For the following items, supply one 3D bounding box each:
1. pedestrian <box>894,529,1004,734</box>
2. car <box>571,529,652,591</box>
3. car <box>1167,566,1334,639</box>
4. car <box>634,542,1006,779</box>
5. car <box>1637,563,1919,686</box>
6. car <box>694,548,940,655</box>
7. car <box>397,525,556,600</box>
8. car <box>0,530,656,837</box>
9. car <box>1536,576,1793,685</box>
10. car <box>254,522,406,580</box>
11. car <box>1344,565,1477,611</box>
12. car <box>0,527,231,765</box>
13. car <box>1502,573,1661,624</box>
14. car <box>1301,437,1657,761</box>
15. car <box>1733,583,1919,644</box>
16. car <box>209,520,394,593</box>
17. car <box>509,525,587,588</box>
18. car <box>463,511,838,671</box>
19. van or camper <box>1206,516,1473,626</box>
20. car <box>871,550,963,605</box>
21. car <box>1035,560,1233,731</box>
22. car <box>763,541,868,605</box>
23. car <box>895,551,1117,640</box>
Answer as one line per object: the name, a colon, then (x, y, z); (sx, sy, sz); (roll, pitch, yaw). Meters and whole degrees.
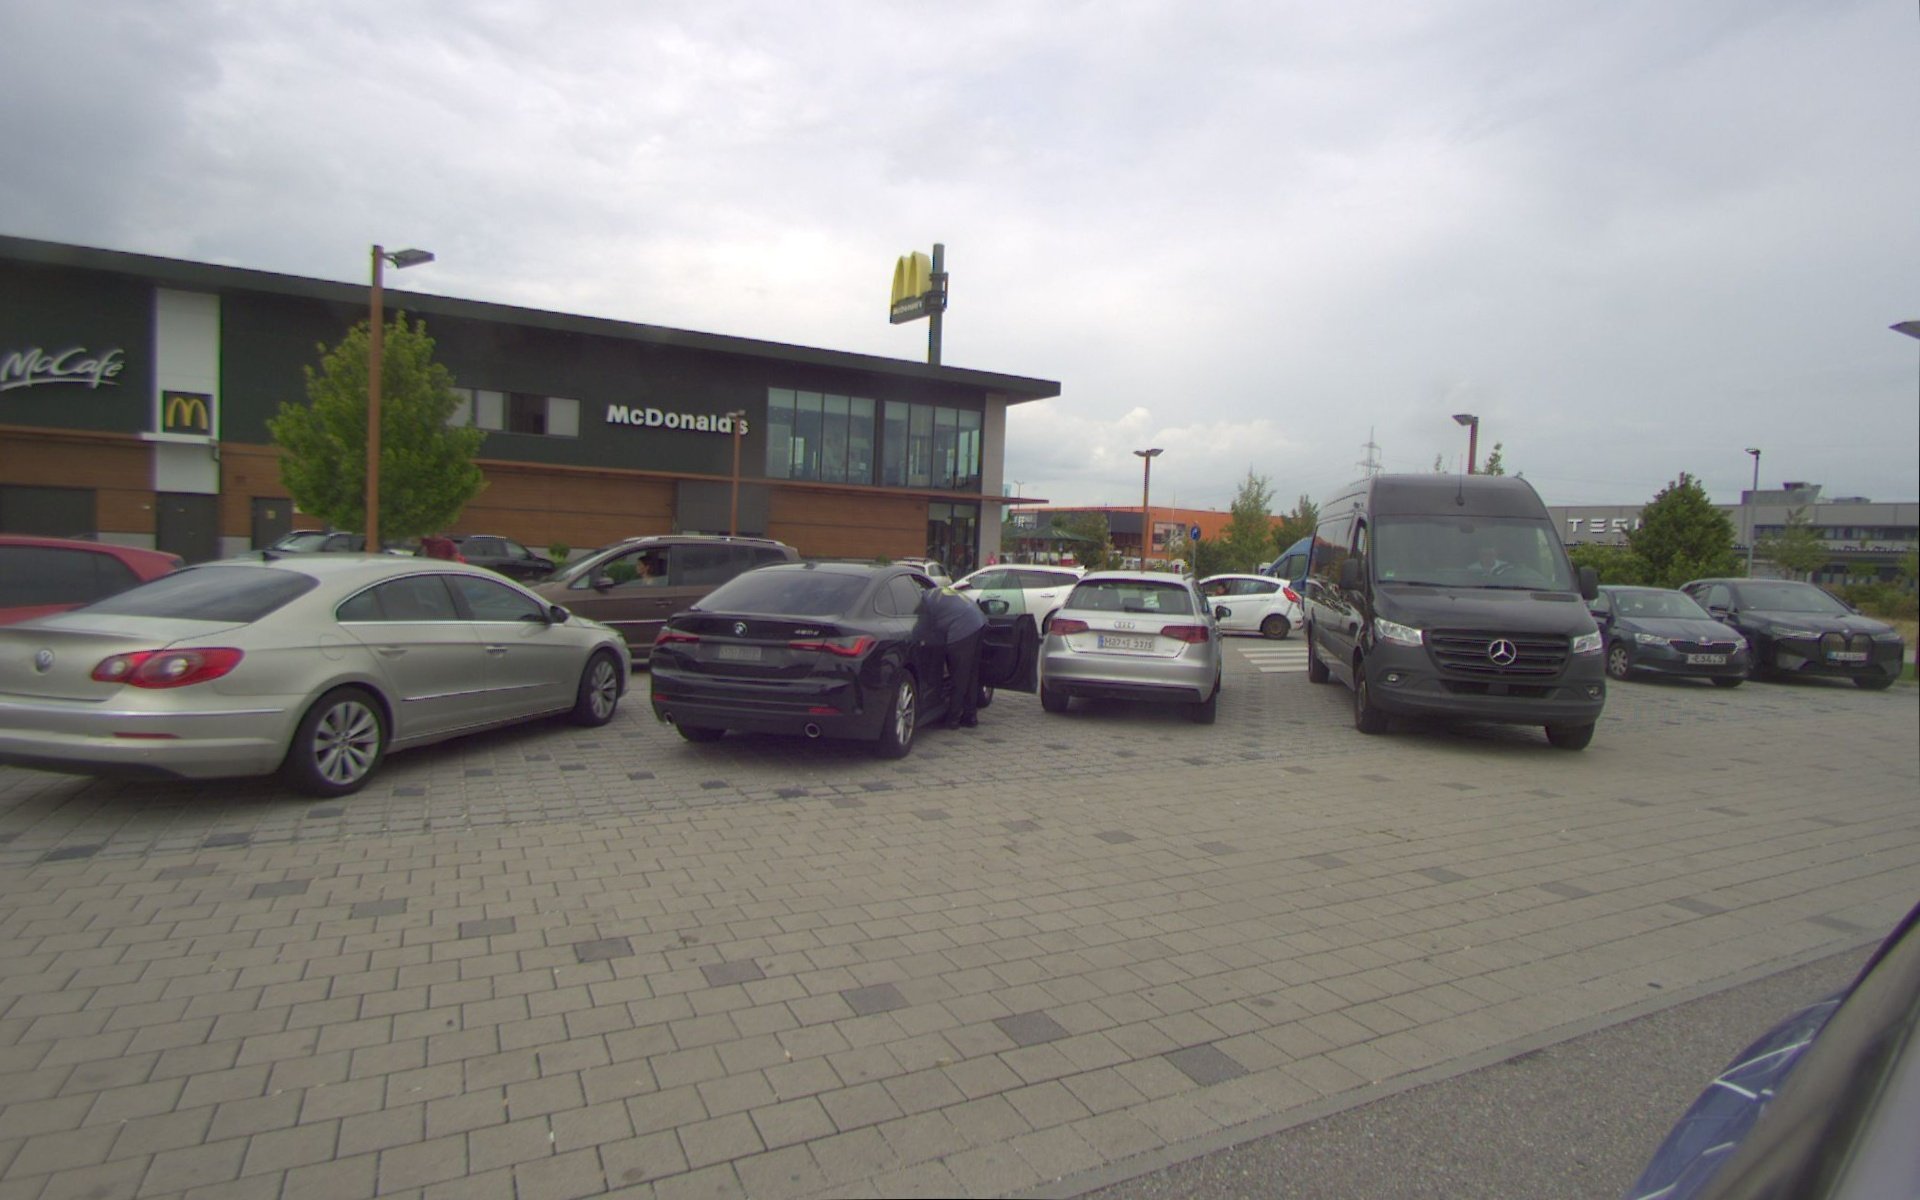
pedestrian: (-0.081, 0.244, 8.901); (0.739, 1.698, 0.838); (1, 1, 17)
car: (-11.335, -1.332, 32.756); (1.717, 1.774, 4.007); (2, 3, -30)
car: (6.630, 0.019, 23.387); (3.522, 1.471, 1.835); (3, 2, 15)
car: (-0.875, 0.321, 8.838); (1.663, 1.481, 4.388); (2, 2, 14)
car: (14.090, 0.288, 17.683); (1.970, 1.749, 4.880); (3, 2, 12)
car: (-2.543, -0.030, 18.146); (3.947, 1.528, 1.760); (5, 2, 18)
car: (-12.962, -1.011, 27.421); (1.967, 1.771, 3.992); (4, 2, 8)
car: (-4.084, 0.313, 7.152); (1.727, 1.429, 4.443); (2, 2, 13)
car: (11.193, 0.378, 16.471); (1.803, 1.429, 3.991); (2, 3, 9)
car: (-19.825, -1.546, 32.051); (3.918, 1.524, 1.792); (2, 3, -29)
car: (19.241, -0.562, 43.493); (2.031, 1.621, 4.956); (1, 4, -27)
car: (-6.922, 0.268, 6.061); (1.664, 1.482, 3.980); (2, 2, 16)
car: (22.670, -0.103, 37.096); (2.031, 1.572, 4.486); (1, 3, -29)
car: (5.374, -0.134, 11.736); (2.043, 2.584, 6.983); (2, 2, 14)
car: (26.272, 0.348, 30.408); (1.796, 1.476, 4.467); (0, 4, -26)
car: (-16.389, -1.081, 25.425); (1.721, 1.603, 3.897); (4, 2, 8)
car: (-13.050, -1.409, 31.910); (1.717, 1.774, 4.007); (2, 3, -30)
car: (-3.828, -0.092, 12.695); (4.108, 1.710, 1.813); (2, 3, -32)
van or camper: (10.166, -0.842, 27.573); (6.494, 2.734, 2.158); (2, 1, 21)
car: (-1.336, -0.789, 33.289); (1.766, 1.503, 3.982); (5, 5, 16)
car: (2.068, 0.344, 11.106); (1.664, 1.469, 3.980); (2, 2, 16)
car: (-4.437, -0.908, 31.735); (1.870, 1.681, 4.246); (4, 5, 12)
car: (0.946, -0.100, 19.826); (4.049, 1.485, 1.773); (3, 0, 13)
